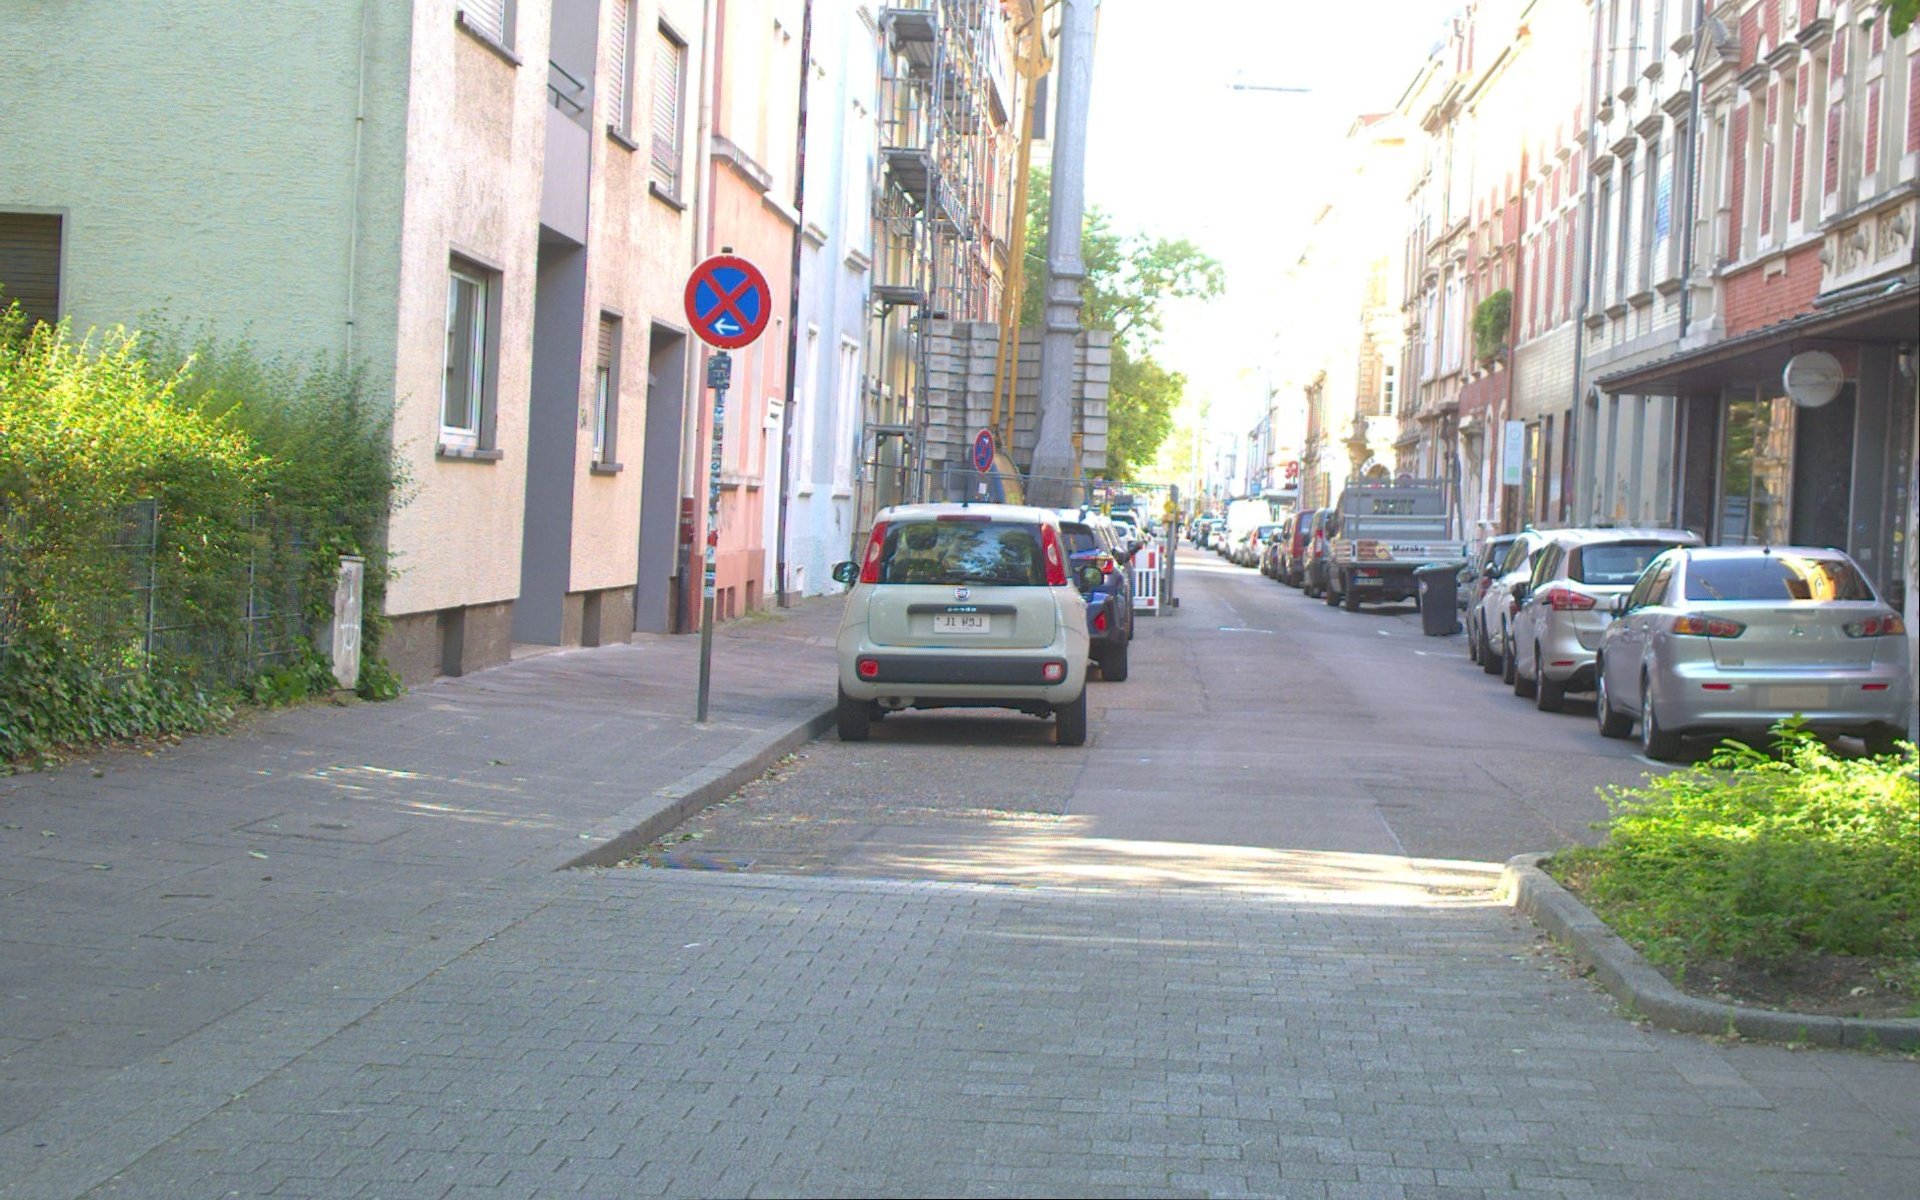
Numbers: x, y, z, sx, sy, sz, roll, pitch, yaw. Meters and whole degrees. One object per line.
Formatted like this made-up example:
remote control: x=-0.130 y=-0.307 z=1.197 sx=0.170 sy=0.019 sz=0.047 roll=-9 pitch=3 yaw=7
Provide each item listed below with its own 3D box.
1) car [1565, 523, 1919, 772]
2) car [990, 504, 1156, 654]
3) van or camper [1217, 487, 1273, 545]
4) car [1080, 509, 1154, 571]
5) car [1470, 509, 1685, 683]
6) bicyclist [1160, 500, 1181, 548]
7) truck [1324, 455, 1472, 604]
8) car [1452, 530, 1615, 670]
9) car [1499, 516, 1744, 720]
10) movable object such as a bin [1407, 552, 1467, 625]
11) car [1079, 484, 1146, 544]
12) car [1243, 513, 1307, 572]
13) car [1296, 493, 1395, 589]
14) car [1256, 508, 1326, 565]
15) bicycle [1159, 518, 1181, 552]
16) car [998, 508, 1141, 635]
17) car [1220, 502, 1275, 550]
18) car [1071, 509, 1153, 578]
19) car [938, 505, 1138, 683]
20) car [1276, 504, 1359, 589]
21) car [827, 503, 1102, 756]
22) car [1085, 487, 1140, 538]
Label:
car: x=5.574 y=0.263 z=24.825 sx=1.721 sy=1.557 sz=4.398 roll=3 pitch=1 yaw=2
car: x=1.289 y=-0.269 z=38.020 sx=1.675 sy=1.506 sz=4.414 roll=2 pitch=1 yaw=3
van or camper: x=12.688 y=-3.740 z=153.153 sx=1.993 sy=2.499 sz=4.203 roll=1 pitch=2 yaw=-1
car: x=3.871 y=-1.503 z=85.048 sx=1.675 sy=1.440 sz=3.869 roll=2 pitch=1 yaw=1
car: x=6.485 y=-0.090 z=36.480 sx=1.747 sy=1.670 sz=4.340 roll=2 pitch=1 yaw=4
bicyclist: x=7.799 y=-2.805 z=127.400 sx=0.730 sy=1.755 sz=0.835 roll=1 pitch=1 yaw=4
truck: x=8.067 y=-1.322 z=63.762 sx=2.190 sy=2.598 sz=5.234 roll=2 pitch=2 yaw=2
car: x=6.921 y=-0.045 z=41.789 sx=1.597 sy=1.555 sz=3.813 roll=2 pitch=2 yaw=5
car: x=5.889 y=0.110 z=30.966 sx=1.640 sy=1.650 sz=3.869 roll=3 pitch=1 yaw=4
movable object such as a bin: x=7.153 y=-0.176 z=51.559 sx=0.795 sy=1.052 sz=0.660 roll=3 pitch=2 yaw=3
car: x=4.201 y=-2.370 z=95.204 sx=1.675 sy=1.565 sz=3.869 roll=2 pitch=1 yaw=1
car: x=11.396 y=-2.112 z=124.589 sx=1.994 sy=2.006 sz=4.000 roll=2 pitch=2 yaw=2
car: x=8.295 y=-1.282 z=74.275 sx=1.675 sy=1.956 sz=4.109 roll=2 pitch=1 yaw=1
car: x=9.613 y=-1.849 z=100.027 sx=1.675 sy=1.565 sz=3.869 roll=2 pitch=1 yaw=1
bicycle: x=7.785 y=-2.420 z=127.419 sx=0.724 sy=1.182 sz=2.042 roll=4 pitch=2 yaw=3
car: x=1.439 y=-0.401 z=43.822 sx=1.675 sy=1.472 sz=4.608 roll=2 pitch=1 yaw=3
car: x=11.620 y=-2.997 z=139.029 sx=1.994 sy=1.842 sz=4.000 roll=2 pitch=2 yaw=2
car: x=3.344 y=-1.269 z=76.251 sx=1.675 sy=1.440 sz=3.869 roll=2 pitch=1 yaw=1
car: x=0.724 y=-0.101 z=32.416 sx=1.729 sy=1.534 sz=4.378 roll=1 pitch=1 yaw=1
car: x=9.003 y=-1.362 z=86.750 sx=1.675 sy=2.024 sz=3.869 roll=2 pitch=1 yaw=1
car: x=0.062 y=0.137 z=23.384 sx=1.675 sy=1.534 sz=3.869 roll=2 pitch=1 yaw=1
car: x=5.719 y=-3.296 z=129.507 sx=1.994 sy=1.842 sz=4.000 roll=2 pitch=2 yaw=2
